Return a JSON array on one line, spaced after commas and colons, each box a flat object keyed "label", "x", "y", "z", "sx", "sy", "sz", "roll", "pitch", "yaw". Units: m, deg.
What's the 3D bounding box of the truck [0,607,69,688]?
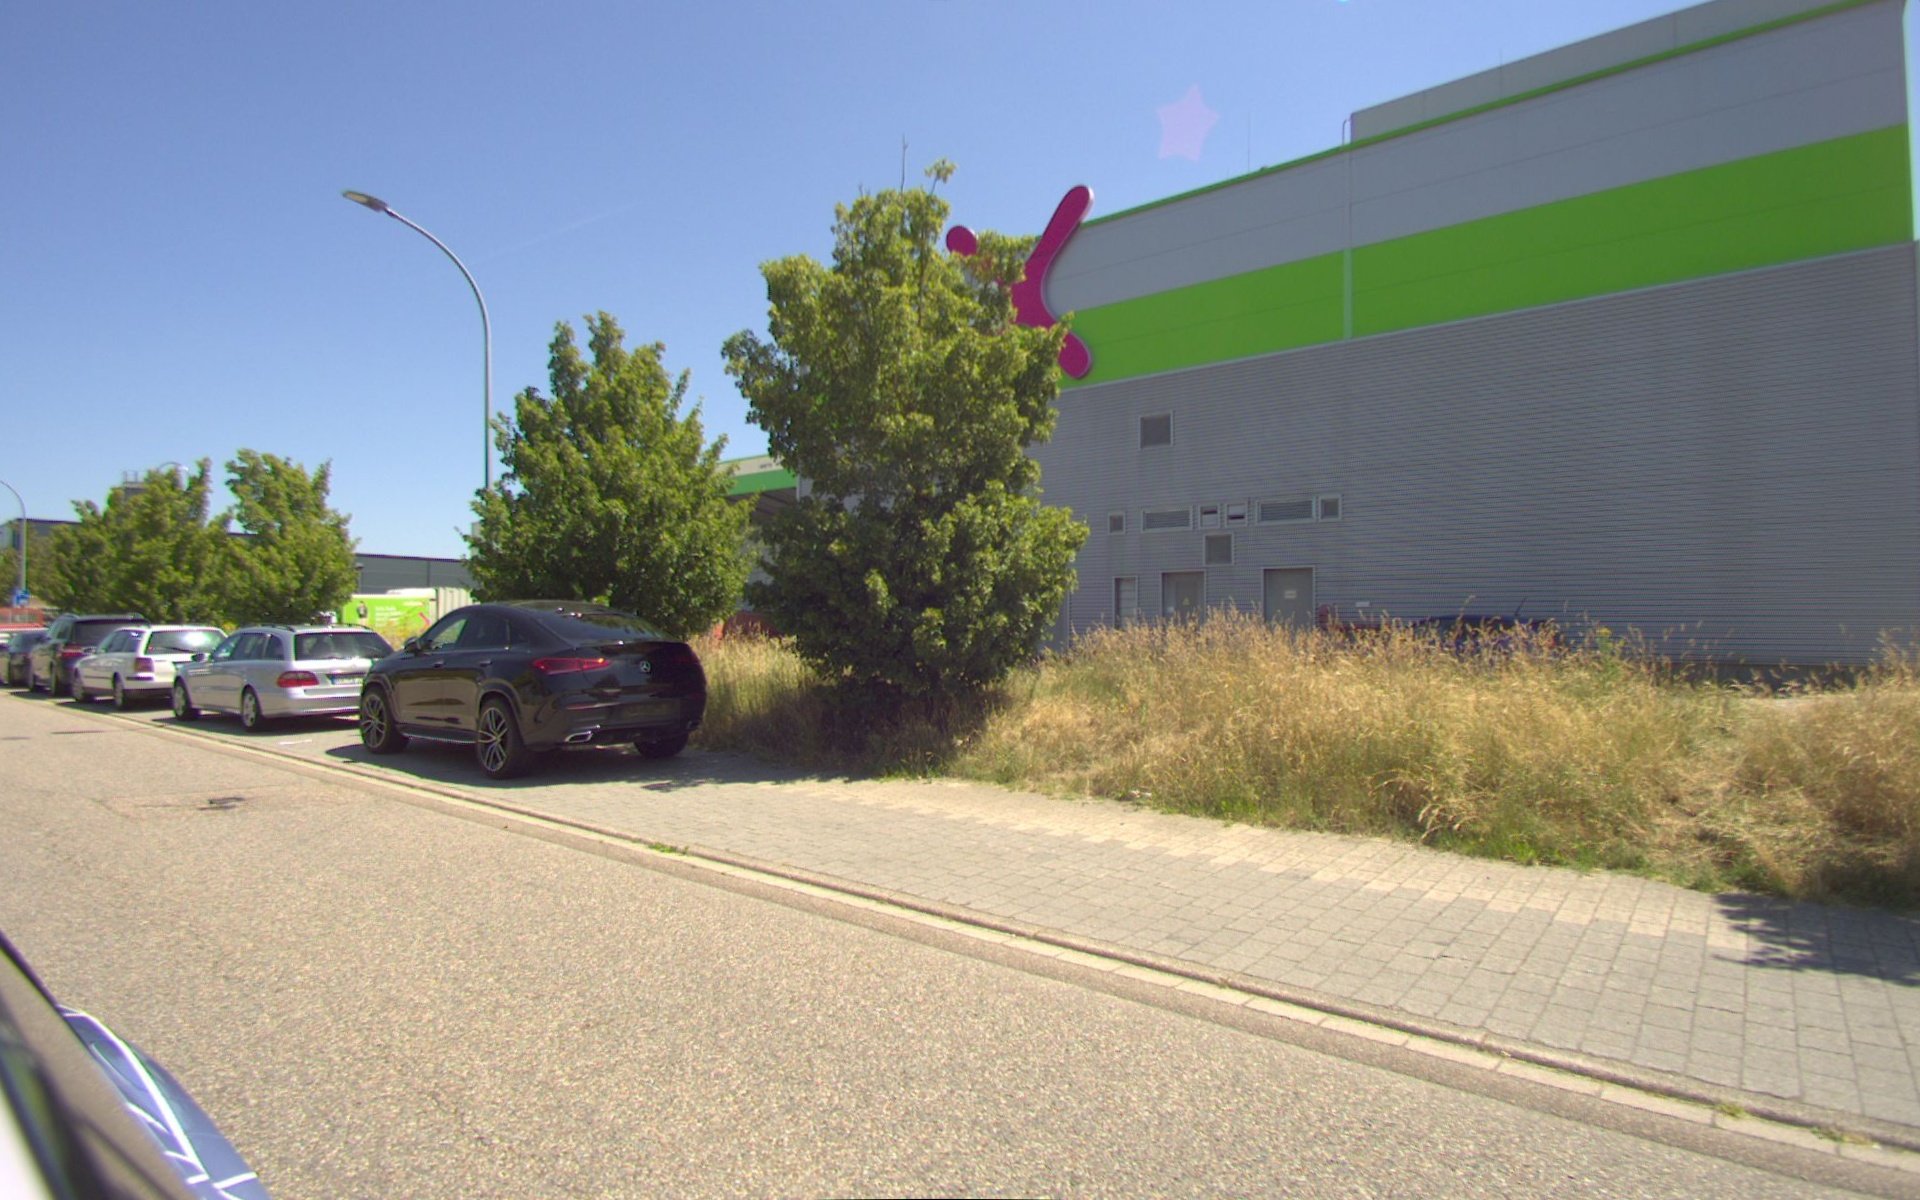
[{"label": "truck", "x": -28.088, "y": 1.387, "z": 29.930, "sx": 4.640, "sy": 2.239, "sz": 1.833, "roll": -2, "pitch": -2, "yaw": 38}]

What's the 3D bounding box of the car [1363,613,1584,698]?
[{"label": "car", "x": 8.987, "y": 0.944, "z": 17.823, "sx": 3.235, "sy": 1.362, "sz": 1.417, "roll": -2, "pitch": -2, "yaw": 39}]

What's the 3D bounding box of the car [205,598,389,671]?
[{"label": "car", "x": -27.506, "y": 1.419, "z": 42.219, "sx": 2.518, "sy": 2.846, "sz": 5.916, "roll": -2, "pitch": -2, "yaw": 38}]

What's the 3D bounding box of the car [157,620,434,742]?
[{"label": "car", "x": -10.098, "y": 1.114, "z": 15.218, "sx": 5.157, "sy": 1.530, "sz": 1.835, "roll": -2, "pitch": -2, "yaw": 37}]

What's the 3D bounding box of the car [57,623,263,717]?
[{"label": "car", "x": -15.052, "y": 1.236, "z": 18.957, "sx": 4.896, "sy": 1.530, "sz": 1.835, "roll": -2, "pitch": -2, "yaw": 37}]

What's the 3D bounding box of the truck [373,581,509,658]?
[{"label": "truck", "x": -29.645, "y": 1.209, "z": 57.994, "sx": 3.216, "sy": 4.119, "sz": 6.043, "roll": -2, "pitch": -4, "yaw": 40}]

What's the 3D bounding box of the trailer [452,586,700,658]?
[{"label": "trailer", "x": -23.996, "y": 1.625, "z": 64.818, "sx": 3.216, "sy": 4.119, "sz": 15.165, "roll": -2, "pitch": -4, "yaw": 40}]

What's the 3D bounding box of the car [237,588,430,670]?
[{"label": "car", "x": -24.321, "y": 1.139, "z": 39.537, "sx": 2.518, "sy": 2.948, "sz": 5.916, "roll": -2, "pitch": -2, "yaw": 38}]

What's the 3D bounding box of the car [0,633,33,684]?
[{"label": "car", "x": -31.623, "y": 1.878, "z": 32.687, "sx": 3.761, "sy": 1.562, "sz": 1.834, "roll": -2, "pitch": -2, "yaw": 37}]

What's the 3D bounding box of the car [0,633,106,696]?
[{"label": "car", "x": -23.914, "y": 1.624, "z": 26.280, "sx": 4.748, "sy": 1.454, "sz": 1.833, "roll": -2, "pitch": -2, "yaw": 39}]

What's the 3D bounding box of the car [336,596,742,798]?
[{"label": "car", "x": -4.756, "y": 0.903, "z": 11.031, "sx": 5.002, "sy": 1.726, "sz": 1.972, "roll": -2, "pitch": -2, "yaw": 39}]

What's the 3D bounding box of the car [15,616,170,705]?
[{"label": "car", "x": -19.402, "y": 1.288, "z": 22.555, "sx": 4.982, "sy": 1.772, "sz": 1.833, "roll": -2, "pitch": -2, "yaw": 40}]
